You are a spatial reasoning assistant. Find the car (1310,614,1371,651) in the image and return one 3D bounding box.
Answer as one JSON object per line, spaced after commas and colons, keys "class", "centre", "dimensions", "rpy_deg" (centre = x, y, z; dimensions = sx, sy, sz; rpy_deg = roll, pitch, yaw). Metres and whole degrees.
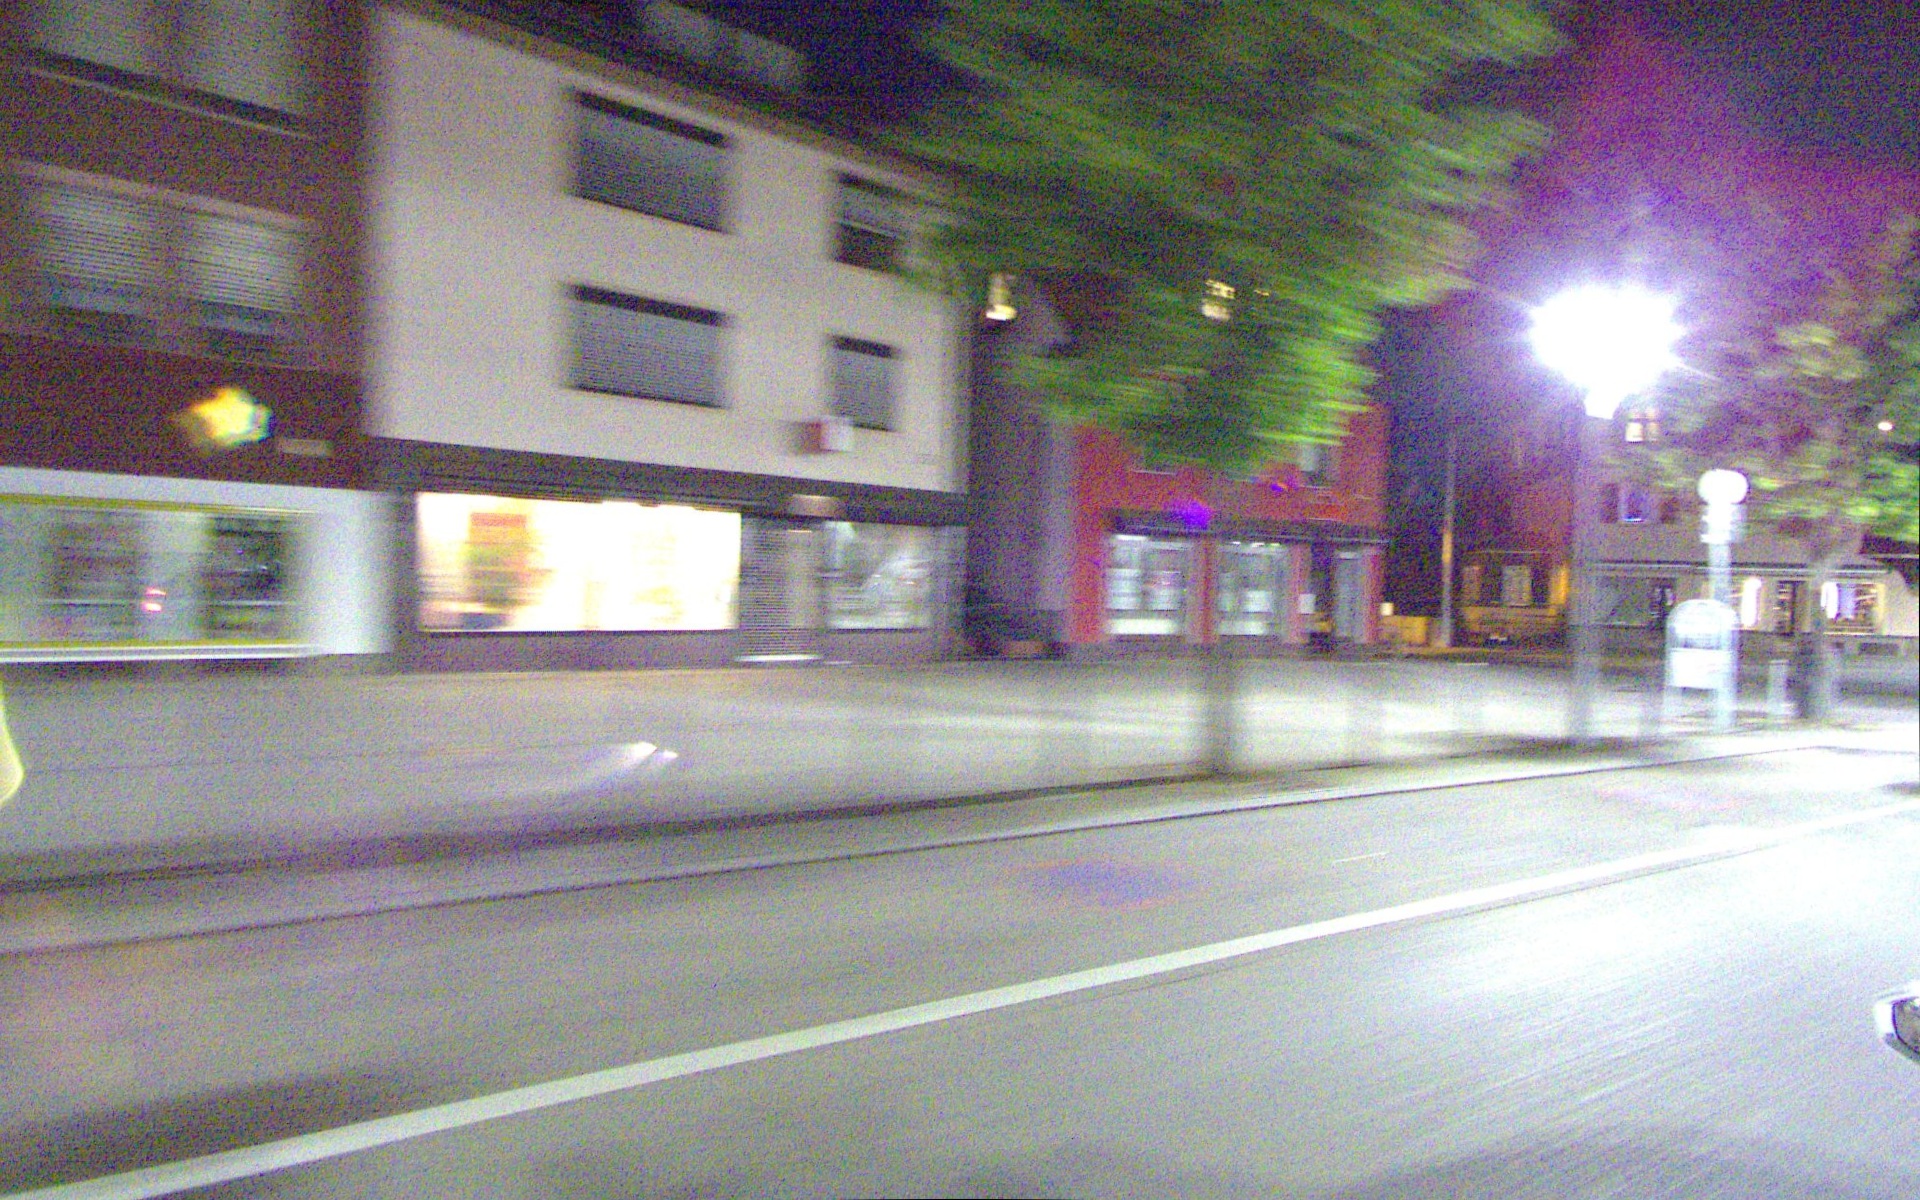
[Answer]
{"class": "car", "centre": [16.036, 1.332, 42.531], "dimensions": [1.882, 1.461, 4.002], "rpy_deg": [0, 0, 13]}
